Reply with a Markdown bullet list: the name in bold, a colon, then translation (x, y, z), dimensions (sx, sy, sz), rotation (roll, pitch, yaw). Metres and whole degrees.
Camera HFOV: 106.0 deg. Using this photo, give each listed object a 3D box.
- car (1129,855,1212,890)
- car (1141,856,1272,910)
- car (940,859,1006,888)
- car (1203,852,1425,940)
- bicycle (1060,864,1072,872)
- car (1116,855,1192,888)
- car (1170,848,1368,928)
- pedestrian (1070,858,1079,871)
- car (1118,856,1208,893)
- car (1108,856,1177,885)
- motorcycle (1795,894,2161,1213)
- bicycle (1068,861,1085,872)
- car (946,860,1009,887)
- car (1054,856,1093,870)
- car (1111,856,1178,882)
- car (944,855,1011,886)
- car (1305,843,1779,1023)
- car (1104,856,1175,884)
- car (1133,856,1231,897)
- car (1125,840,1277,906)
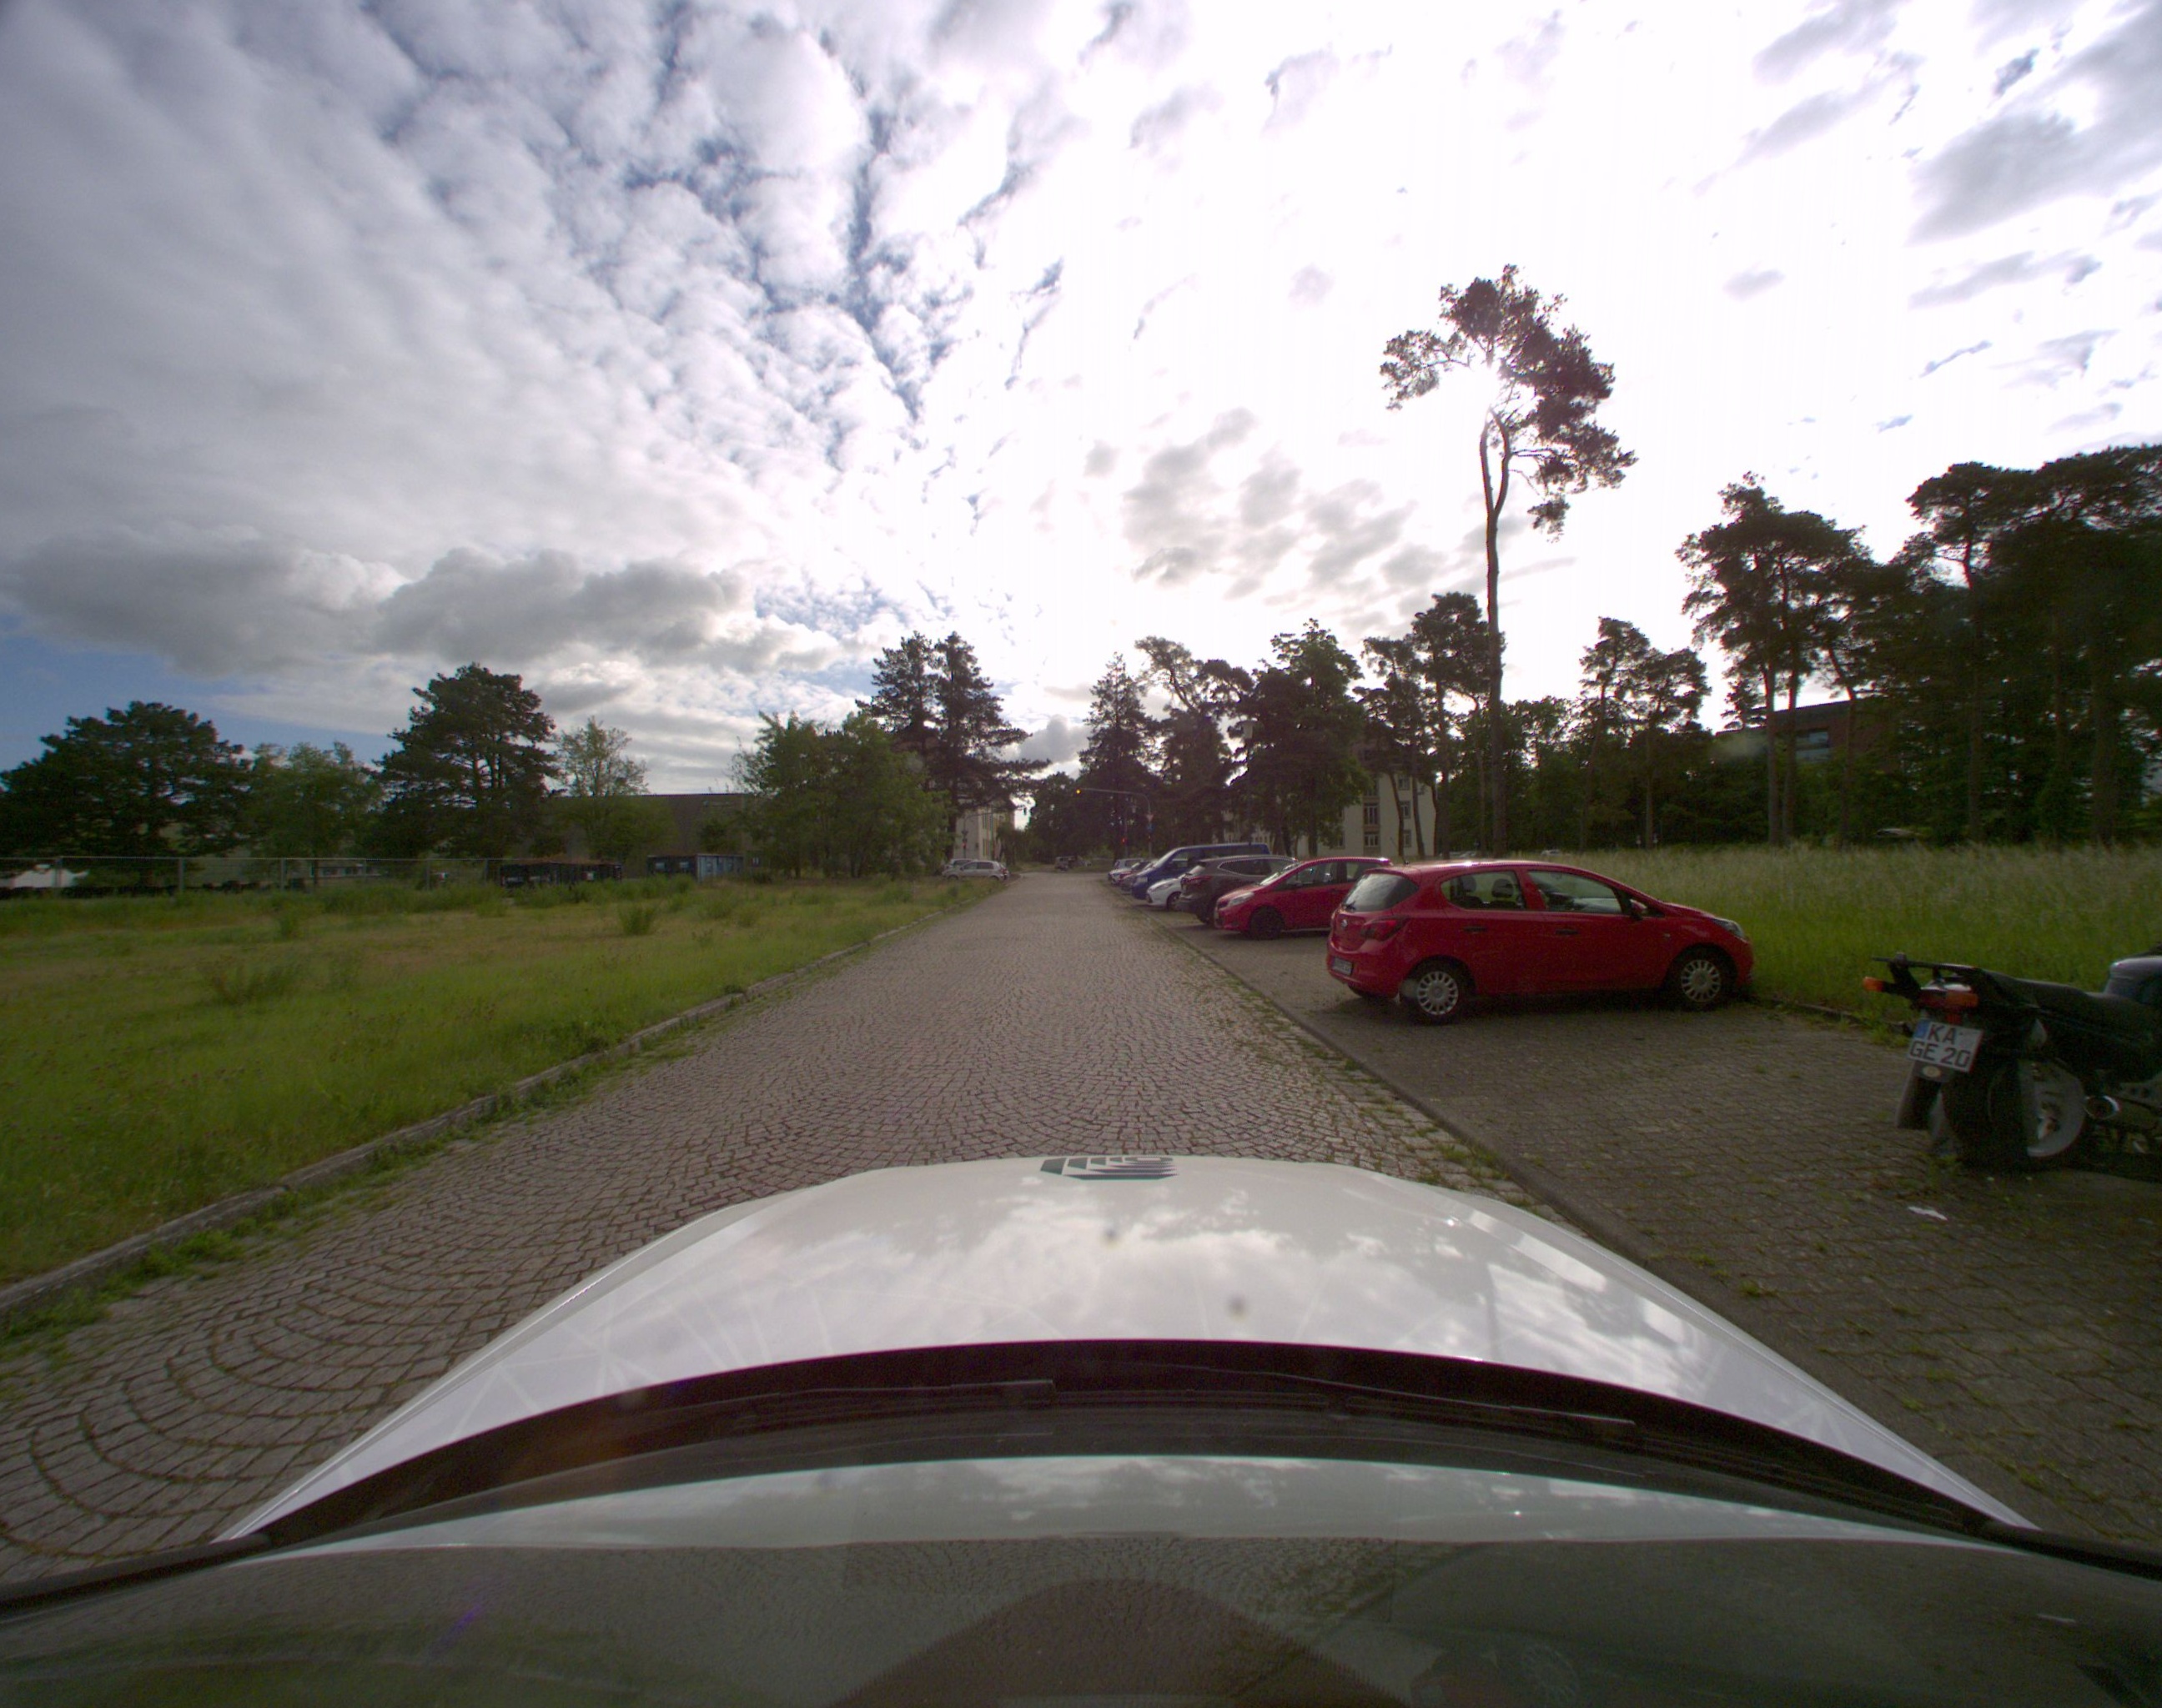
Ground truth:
- **car**: translation (4.193, 0.872, 38.551), dimensions (3.664, 1.449, 1.522), rotation (-2, -1, -3)
- **car**: translation (3.778, 0.859, 24.902), dimensions (3.665, 1.449, 1.612), rotation (-2, -1, -4)
- **car**: translation (-6.590, 1.185, 49.909), dimensions (3.815, 1.572, 1.562), rotation (-2, -1, -5)
- **car**: translation (4.439, 0.775, 15.895), dimensions (3.781, 1.460, 1.750), rotation (-2, -1, -2)
- **bicycle**: translation (-1.780, 1.610, 95.970), dimensions (0.623, 0.945, 1.647), rotation (0, -1, -29)
- **car**: translation (3.666, 0.880, 41.241), dimensions (3.664, 1.449, 1.522), rotation (-2, -1, -3)
- **car**: translation (4.190, 0.739, 18.539), dimensions (4.020, 1.552, 1.748), rotation (-2, -1, -4)
- **pedestrian**: translation (-0.759, 1.333, 100.415), dimensions (1.032, 1.614, 0.756), rotation (0, -1, -6)
- **car**: translation (3.547, 0.880, 35.544), dimensions (3.664, 1.449, 1.522), rotation (-2, -1, -3)
- **car**: translation (3.433, 0.920, 45.771), dimensions (3.667, 1.421, 1.521), rotation (-2, -1, -6)
- **motorcycle**: translation (4.813, 0.830, 3.807), dimensions (2.322, 1.186, 0.794), rotation (-2, -1, -4)
- **bicycle**: translation (-0.551, 1.534, 100.076), dimensions (2.134, 1.215, 0.621), rotation (0, -1, -6)
- **car**: translation (-6.590, 1.241, 52.325), dimensions (3.812, 1.572, 1.563), rotation (-2, -1, -2)
- **car**: translation (-1.103, 1.257, 117.972), dimensions (5.447, 2.014, 2.260), rotation (0, -1, -11)
- **car**: translation (3.991, 0.935, 51.293), dimensions (3.962, 1.421, 1.616), rotation (-2, -1, -6)
- **car**: translation (-6.995, 1.109, 55.302), dimensions (4.251, 1.840, 1.742), rotation (-2, -1, -2)
- **car**: translation (4.466, 0.720, 8.308), dimensions (3.816, 1.460, 1.778), rotation (-2, -1, -2)
- **car**: translation (3.469, 0.945, 48.627), dimensions (3.962, 1.421, 1.616), rotation (-2, -1, -6)
- **car**: translation (4.019, 0.883, 32.779), dimensions (3.664, 1.449, 1.522), rotation (-2, -1, -3)
- **car**: translation (3.970, 0.621, 27.503), dimensions (4.744, 1.954, 1.929), rotation (-2, -1, -4)
